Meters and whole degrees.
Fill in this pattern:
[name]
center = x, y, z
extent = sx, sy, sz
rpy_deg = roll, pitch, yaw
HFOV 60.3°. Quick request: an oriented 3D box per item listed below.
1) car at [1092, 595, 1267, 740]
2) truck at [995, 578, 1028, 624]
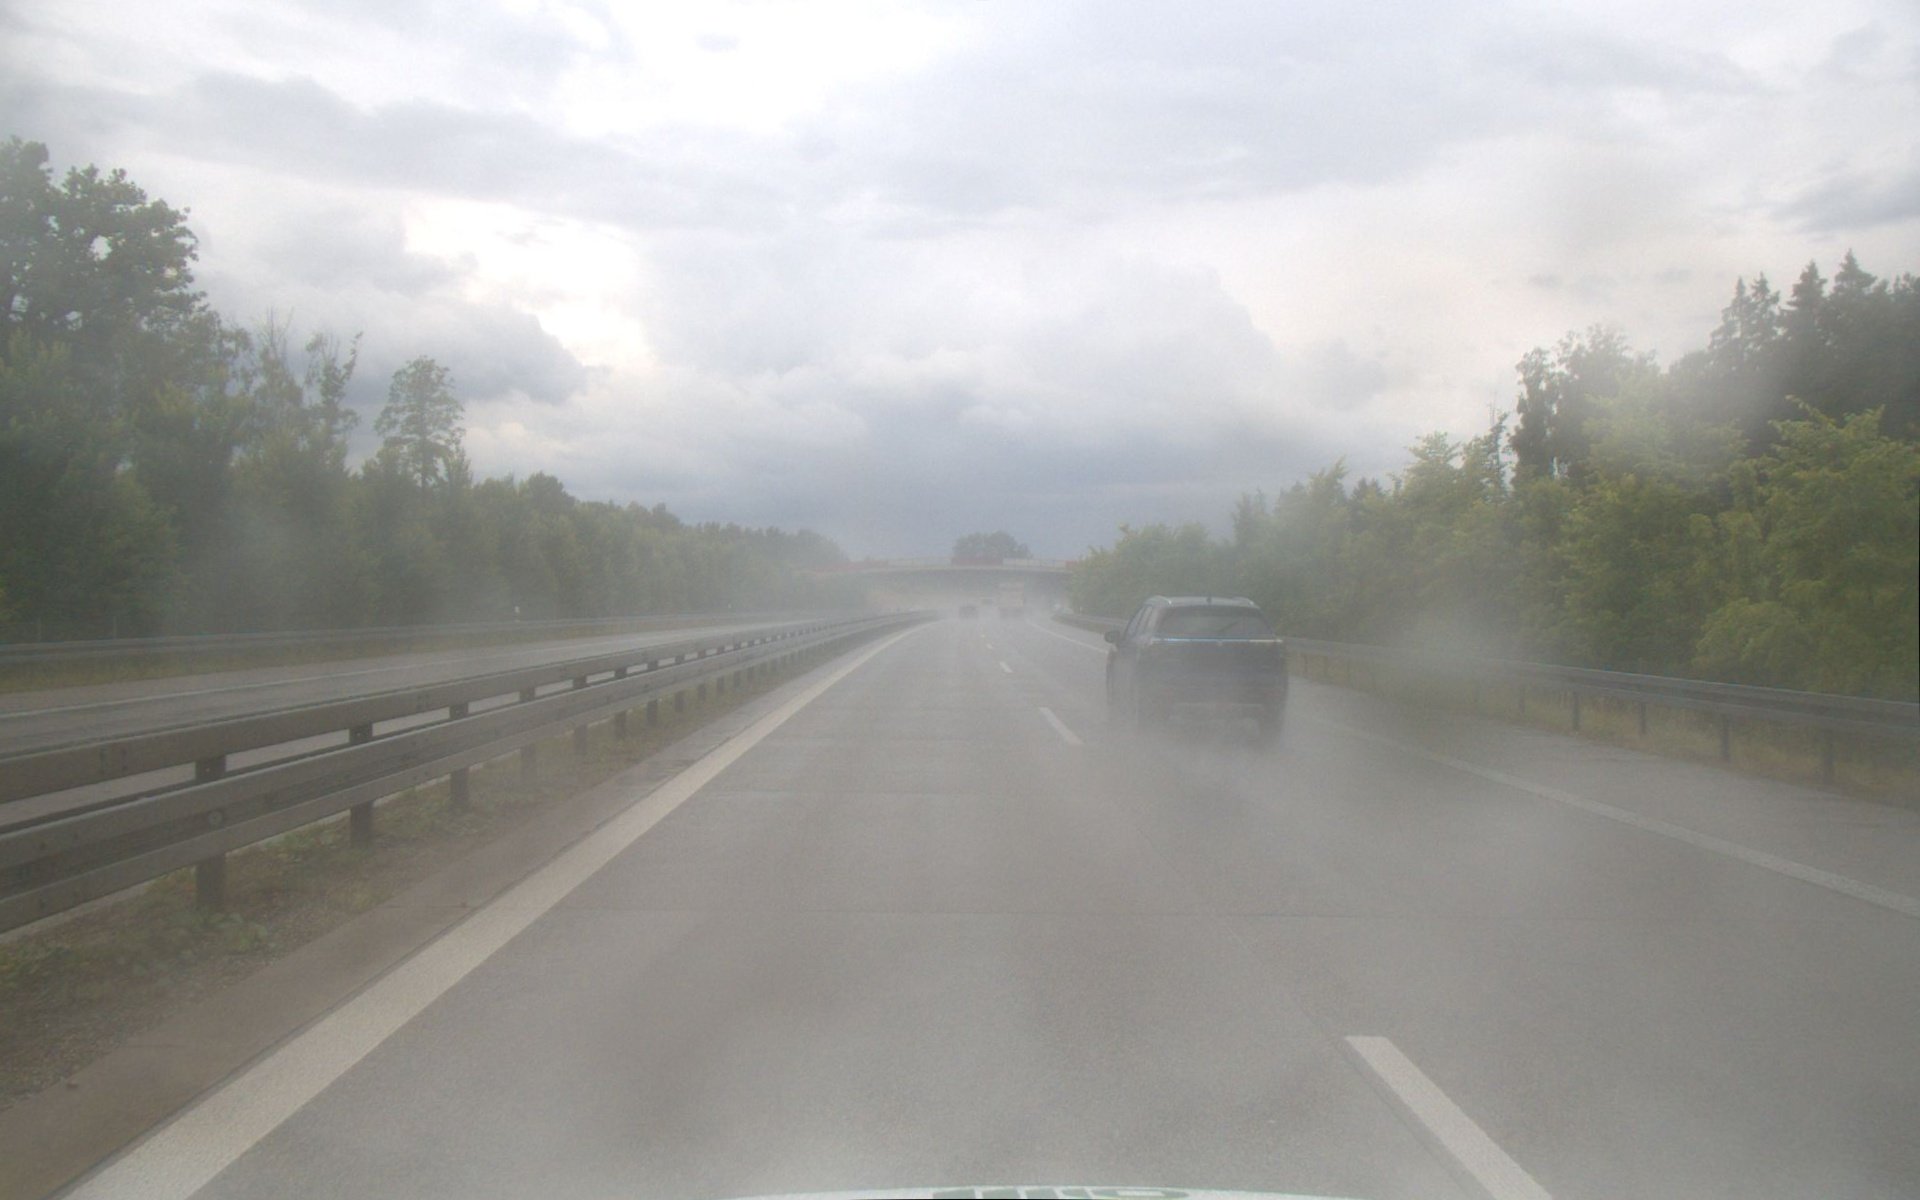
[car]
center = 2.626, 0.778, 20.533
extent = 1.854, 1.603, 3.633
rpy_deg = 1, 0, 3
[truck]
center = 5.124, 0.086, 167.450
extent = 3.177, 4.515, 8.246
rpy_deg = 0, 0, 1
